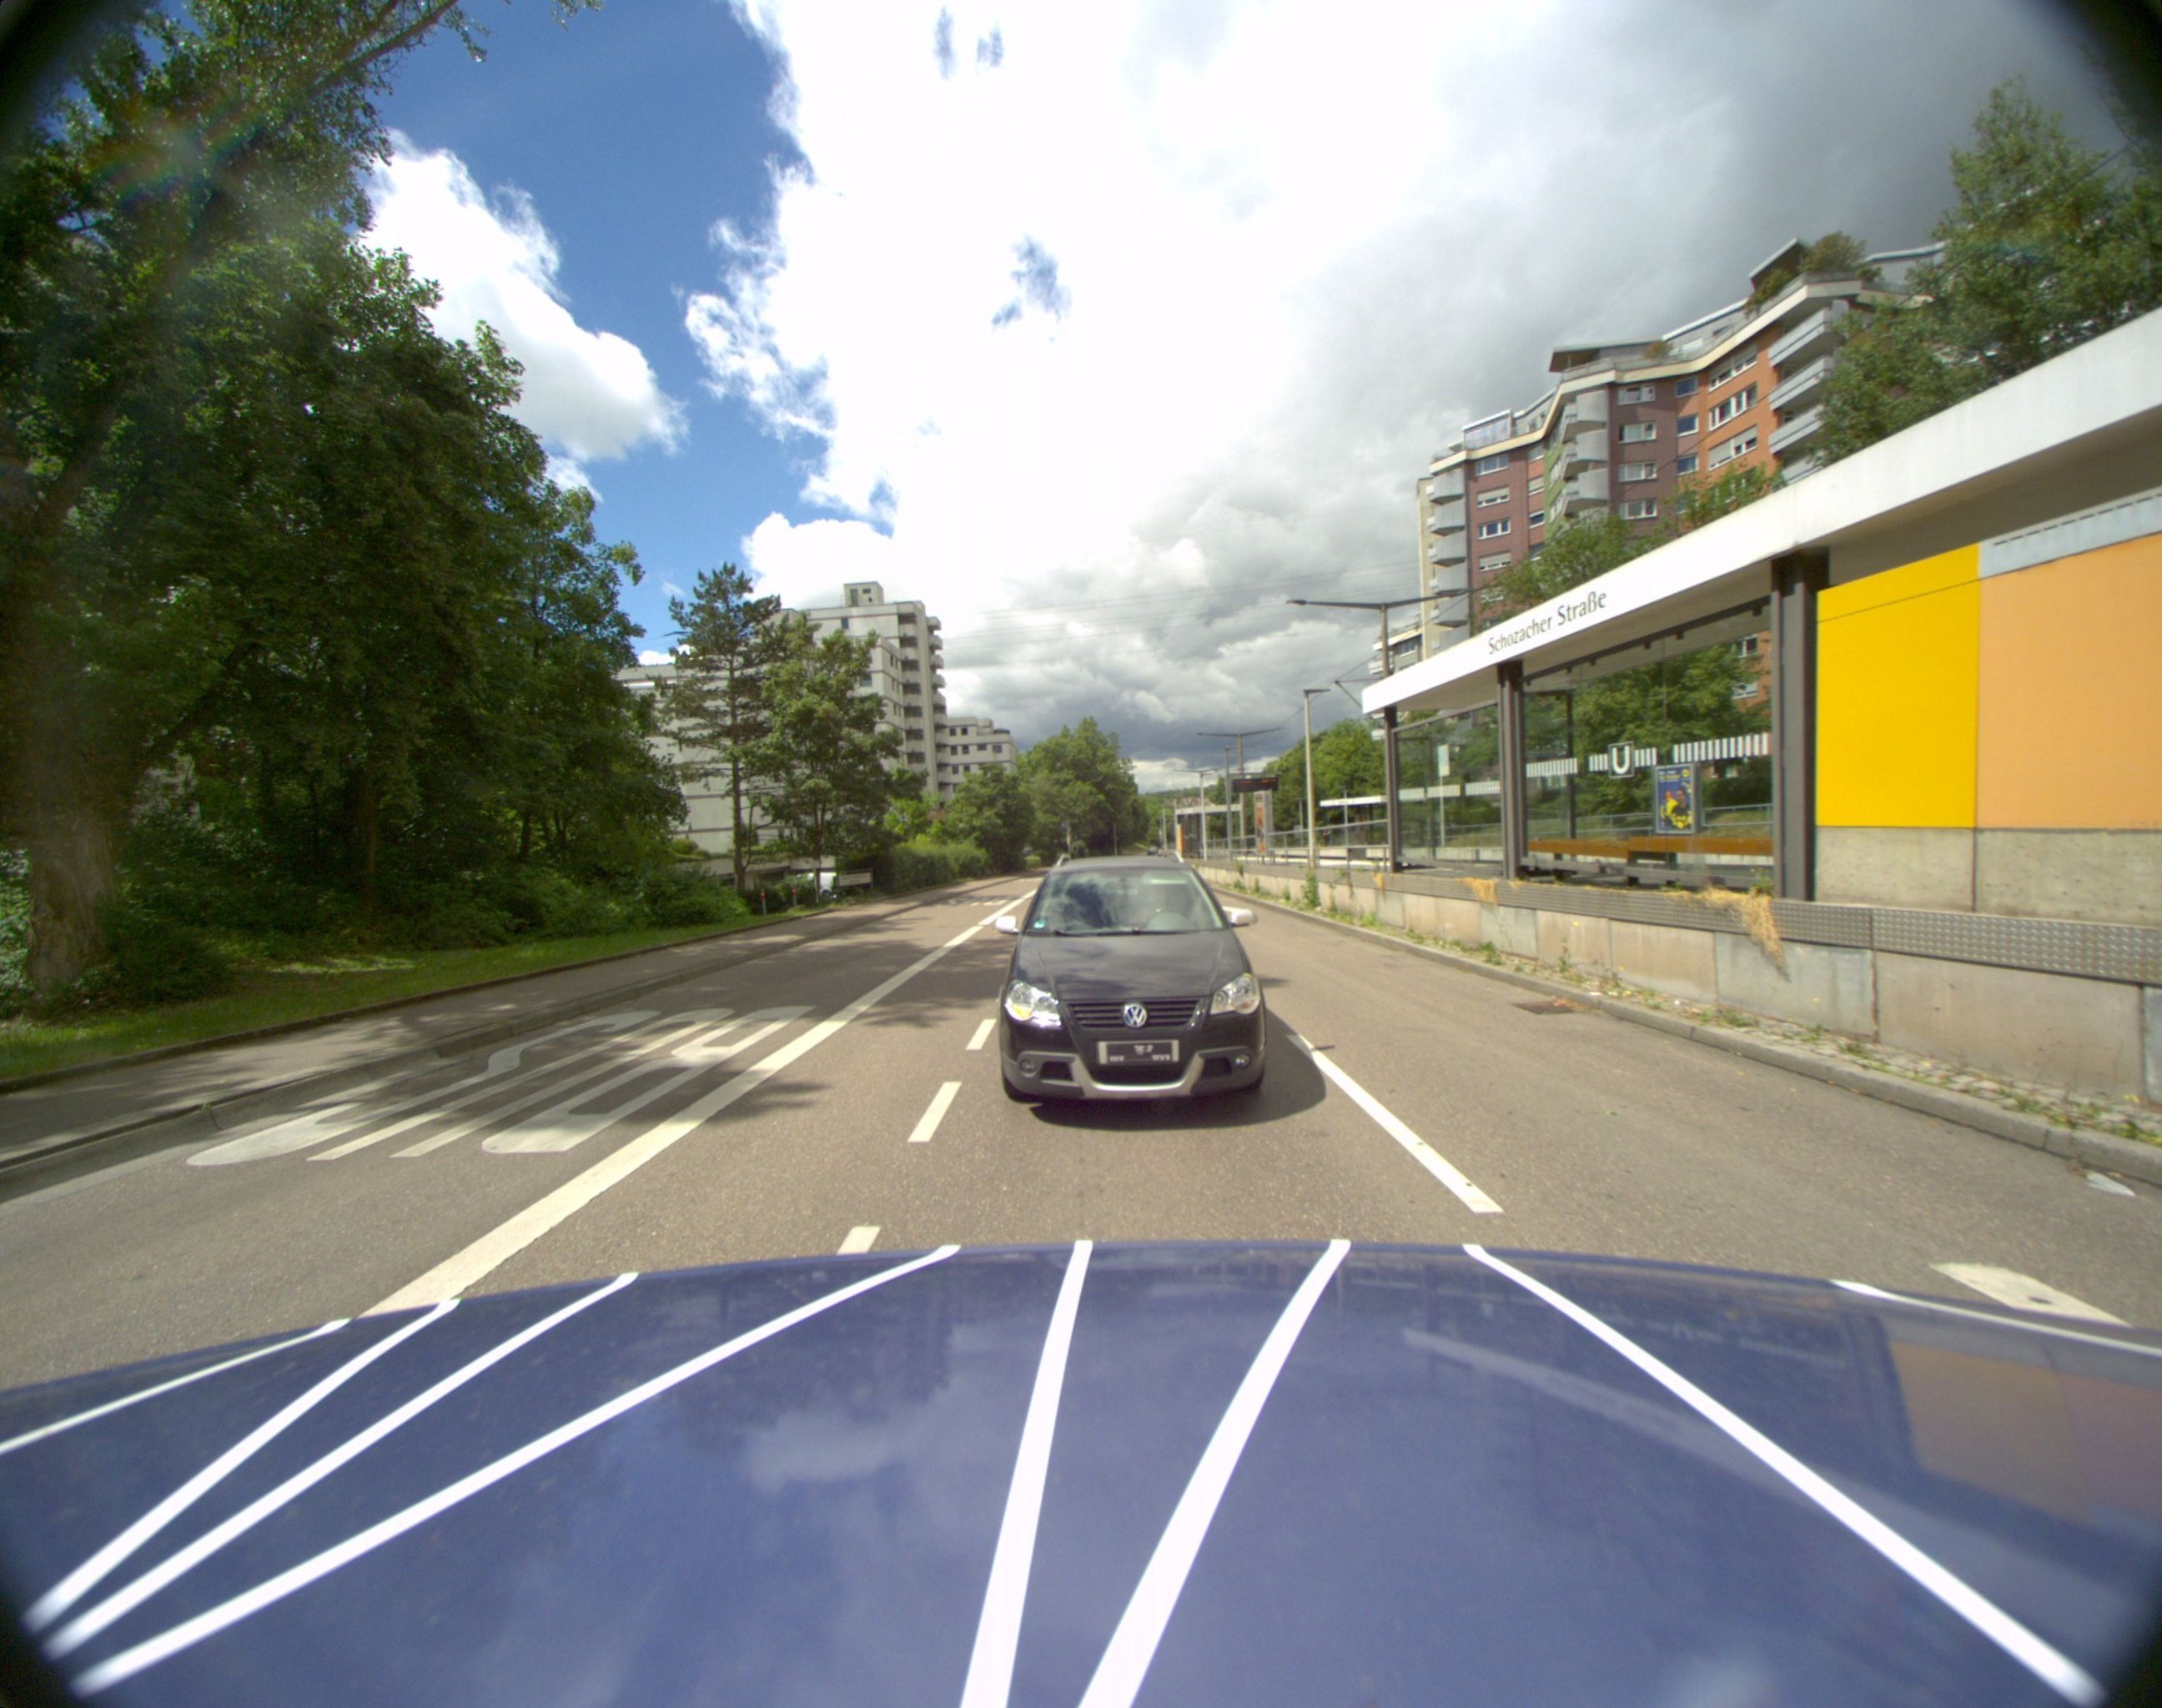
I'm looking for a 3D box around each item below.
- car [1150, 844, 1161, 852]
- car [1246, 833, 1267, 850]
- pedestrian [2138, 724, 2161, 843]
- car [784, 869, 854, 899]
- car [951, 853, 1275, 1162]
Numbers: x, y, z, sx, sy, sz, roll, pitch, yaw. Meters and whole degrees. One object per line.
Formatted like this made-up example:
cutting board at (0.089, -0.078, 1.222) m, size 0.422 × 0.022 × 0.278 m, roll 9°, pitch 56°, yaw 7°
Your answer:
car at (13.762, -1.070, 140.173) m, size 1.821 × 1.377 × 4.065 m, roll -2°, pitch 1°, yaw 2°
car at (22.154, -1.596, 96.143) m, size 1.737 × 2.002 × 4.000 m, roll -2°, pitch 1°, yaw 2°
pedestrian at (15.757, -1.019, 10.985) m, size 0.353 × 1.703 × 0.427 m, roll -2°, pitch 1°, yaw 5°
car at (-19.890, 2.233, 57.797) m, size 4.543 × 2.002 × 2.001 m, roll -2°, pitch 1°, yaw 7°
car at (0.260, 0.816, 5.989) m, size 1.641 × 1.521 × 4.000 m, roll -2°, pitch 1°, yaw 3°
